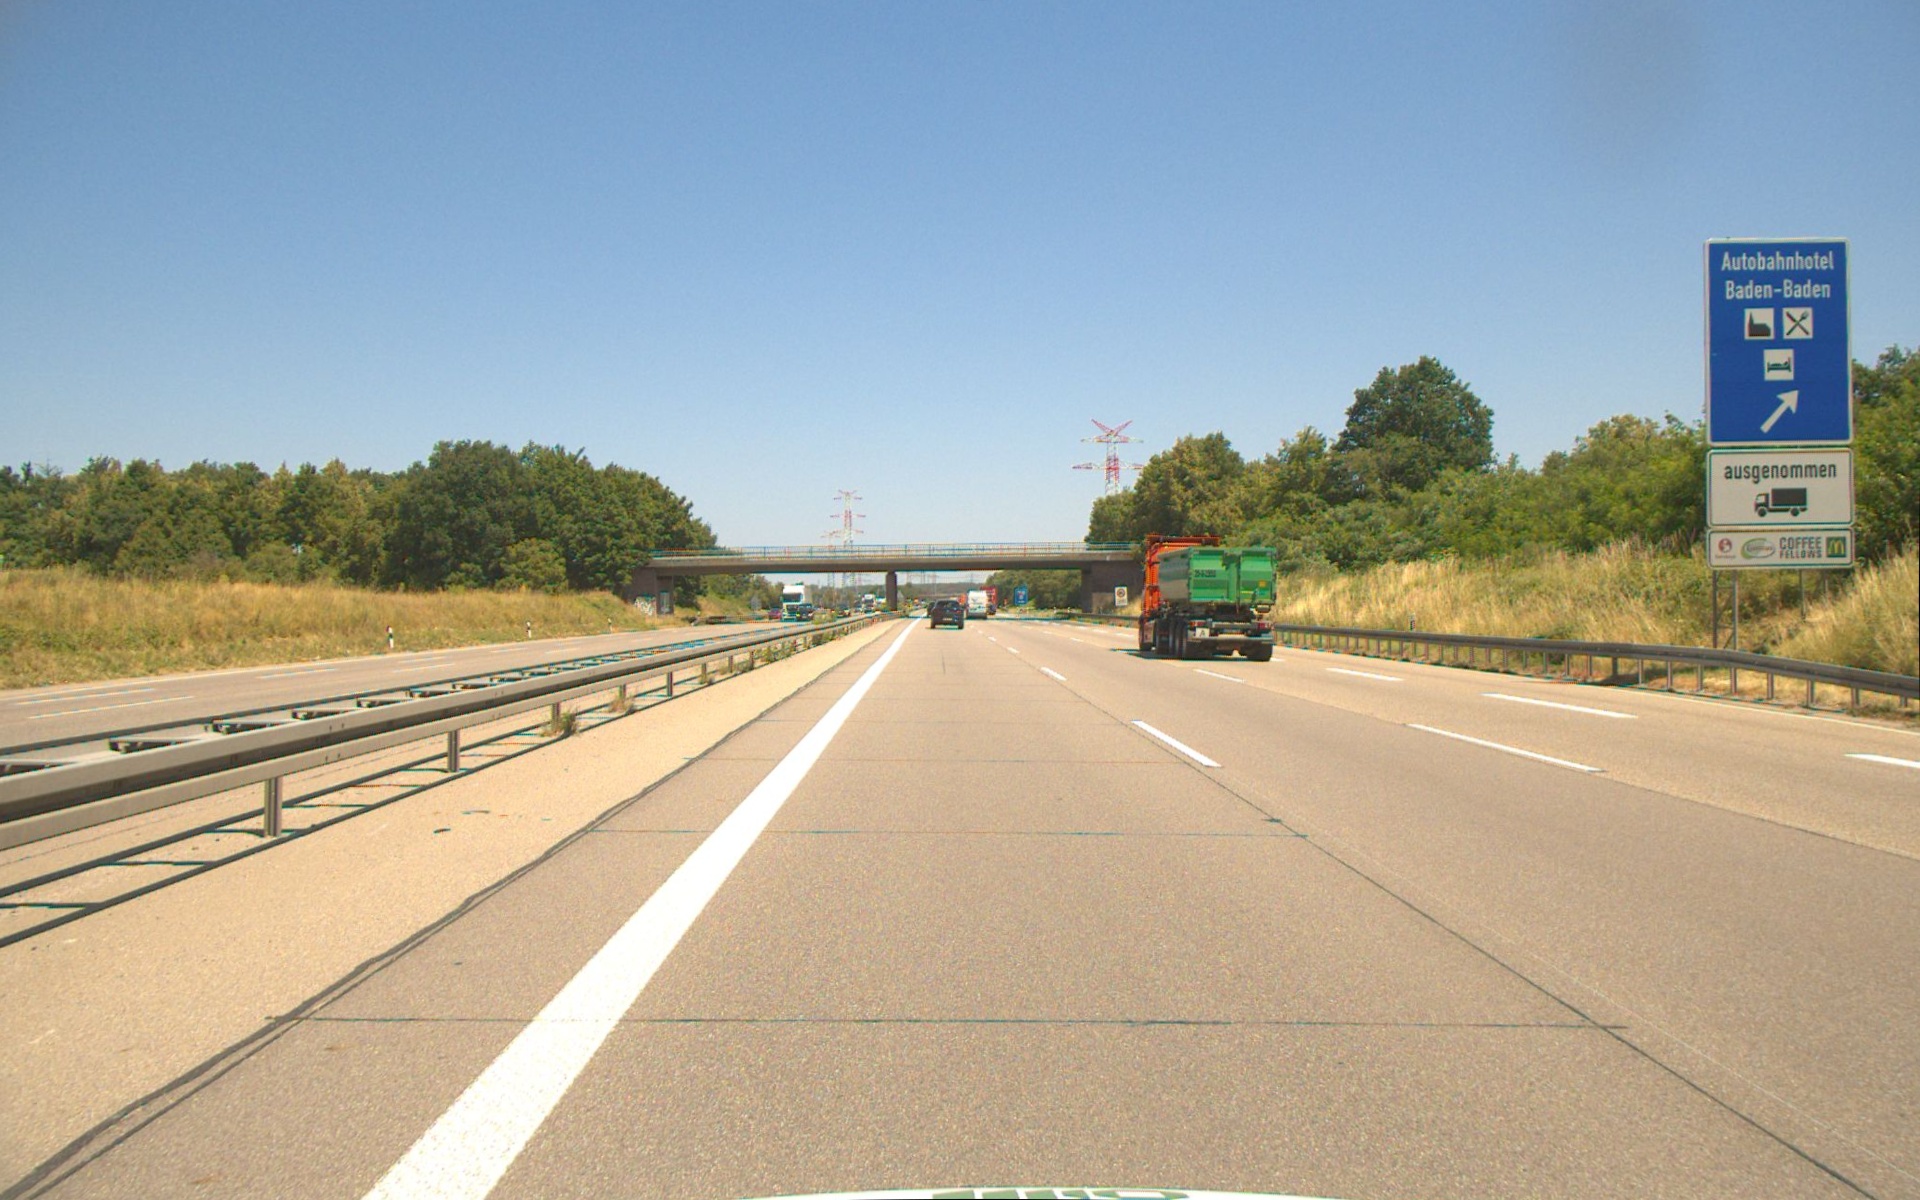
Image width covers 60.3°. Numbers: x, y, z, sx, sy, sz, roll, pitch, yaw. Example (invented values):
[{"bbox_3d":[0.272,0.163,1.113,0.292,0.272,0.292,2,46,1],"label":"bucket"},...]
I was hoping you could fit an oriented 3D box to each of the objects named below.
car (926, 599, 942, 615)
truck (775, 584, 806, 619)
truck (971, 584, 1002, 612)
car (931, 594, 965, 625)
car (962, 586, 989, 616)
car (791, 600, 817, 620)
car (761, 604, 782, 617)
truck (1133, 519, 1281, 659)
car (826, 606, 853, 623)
[{"bbox_3d":[-2.896,0.762,186.208,1.758,1.780,3.999,1,0,-1],"label":"car"},{"bbox_3d":[-20.508,0.147,200.321,2.889,4.029,6.951,-3,0,-1],"label":"truck"},{"bbox_3d":[3.987,-0.332,253.527,4.243,4.010,16.075,1,0,0],"label":"truck"},{"bbox_3d":[-0.727,0.574,98.671,1.953,1.780,3.999,1,0,-1],"label":"car"},{"bbox_3d":[1.507,0.118,163.087,2.568,2.807,6.095,1,0,-1],"label":"car"},{"bbox_3d":[-15.552,0.973,164.940,2.183,1.843,5.298,-2,0,-1],"label":"car"},{"bbox_3d":[-24.666,1.356,216.492,2.183,1.639,4.786,-2,0,-1],"label":"car"},{"bbox_3d":[7.569,-0.315,52.525,2.626,3.864,12.476,1,0,-1],"label":"truck"},{"bbox_3d":[-11.500,1.358,157.909,2.183,1.449,5.298,-2,0,-1],"label":"car"}]
